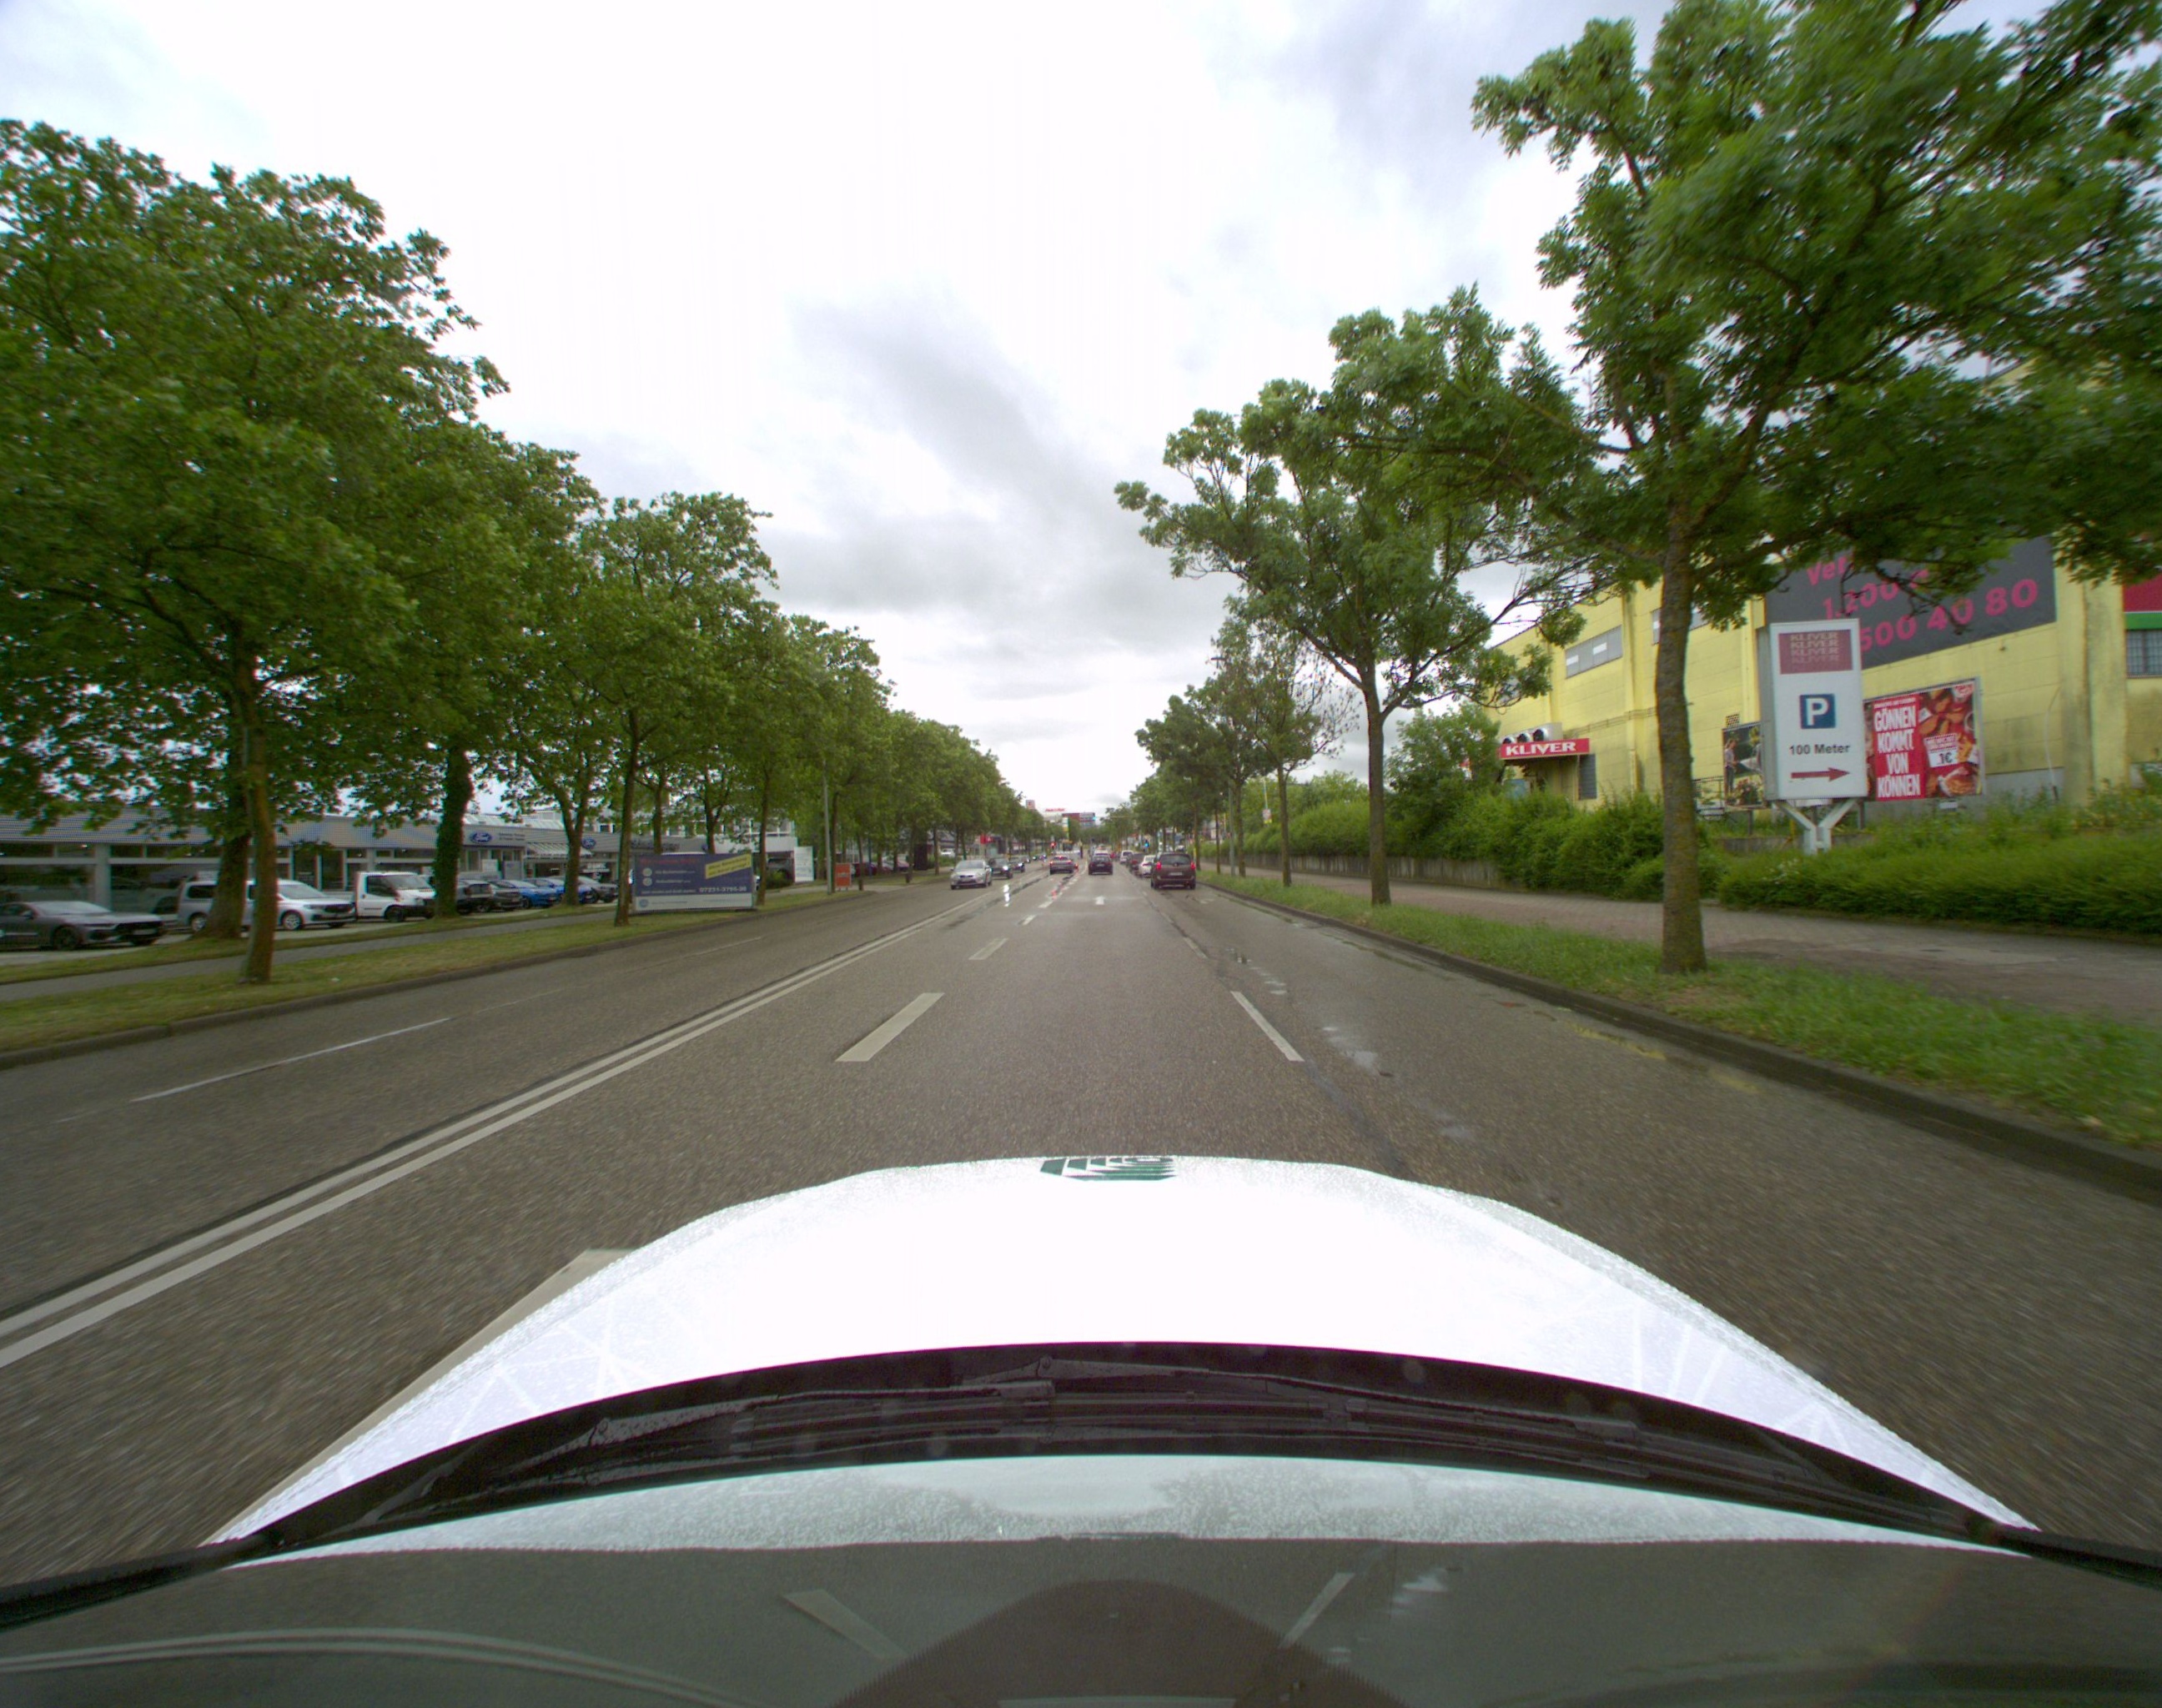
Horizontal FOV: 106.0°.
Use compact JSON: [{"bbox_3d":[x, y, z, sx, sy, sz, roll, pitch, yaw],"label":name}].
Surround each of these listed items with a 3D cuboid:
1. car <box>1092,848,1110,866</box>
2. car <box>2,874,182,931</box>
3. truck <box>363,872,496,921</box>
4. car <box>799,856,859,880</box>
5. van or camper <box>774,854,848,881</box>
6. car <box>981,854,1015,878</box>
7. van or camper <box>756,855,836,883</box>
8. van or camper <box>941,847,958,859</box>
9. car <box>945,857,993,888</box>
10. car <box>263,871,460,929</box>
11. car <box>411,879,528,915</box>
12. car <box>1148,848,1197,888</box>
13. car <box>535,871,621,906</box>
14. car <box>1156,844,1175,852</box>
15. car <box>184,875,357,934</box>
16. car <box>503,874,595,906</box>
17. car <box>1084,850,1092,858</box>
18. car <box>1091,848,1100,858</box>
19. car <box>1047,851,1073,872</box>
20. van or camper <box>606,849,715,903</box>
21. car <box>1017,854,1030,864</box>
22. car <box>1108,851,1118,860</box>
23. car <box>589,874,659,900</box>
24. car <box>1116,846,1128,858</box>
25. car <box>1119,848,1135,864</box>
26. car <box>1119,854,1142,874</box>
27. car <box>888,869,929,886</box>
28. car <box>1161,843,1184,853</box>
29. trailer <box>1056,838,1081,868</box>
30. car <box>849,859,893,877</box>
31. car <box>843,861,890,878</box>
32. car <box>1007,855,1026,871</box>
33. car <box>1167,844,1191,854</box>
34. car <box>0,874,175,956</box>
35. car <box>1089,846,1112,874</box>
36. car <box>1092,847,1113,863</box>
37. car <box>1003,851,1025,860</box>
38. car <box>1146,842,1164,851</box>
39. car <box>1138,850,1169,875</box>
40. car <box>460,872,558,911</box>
[{"bbox_3d":[2.313,0.320,93.573,1.986,2.014,4.000,0,-1,1],"label":"car"},{"bbox_3d":[-35.066,1.690,28.950,3.975,1.766,1.864,-2,0,-1],"label":"car"},{"bbox_3d":[-28.177,1.804,35.360,3.985,1.838,1.994,-2,0,-9],"label":"truck"},{"bbox_3d":[-20.683,1.135,66.795,4.471,1.816,1.985,-2,0,-22],"label":"car"},{"bbox_3d":[-21.154,1.078,63.759,5.379,1.770,2.089,-2,-3,-22],"label":"van or camper"},{"bbox_3d":[-5.820,0.840,57.353,1.756,1.531,3.859,-4,0,1],"label":"car"},{"bbox_3d":[-20.756,1.074,59.269,5.308,1.821,2.248,-2,0,-25],"label":"van or camper"},{"bbox_3d":[-22.831,-0.151,141.458,1.987,1.967,4.788,0,-1,1],"label":"van or camper"},{"bbox_3d":[-5.876,0.919,43.255,1.988,1.429,4.681,-3,0,-2],"label":"car"},{"bbox_3d":[-28.055,1.753,31.925,5.362,1.903,2.414,-2,0,-3],"label":"car"},{"bbox_3d":[-28.572,1.997,38.130,3.969,1.461,2.036,-2,0,4],"label":"car"},{"bbox_3d":[3.967,0.579,35.989,1.720,1.624,4.472,-2,0,1],"label":"car"},{"bbox_3d":[-28.269,1.932,45.800,3.956,1.766,1.873,-2,0,17],"label":"car"},{"bbox_3d":[16.800,-1.156,161.719,3.617,1.536,1.625,-3,0,-39],"label":"car"},{"bbox_3d":[-28.034,1.705,28.288,3.976,1.766,1.881,-2,0,-2],"label":"car"},{"bbox_3d":[-28.205,1.888,43.226,3.957,1.520,1.873,-2,0,15],"label":"car"},{"bbox_3d":[1.682,-0.007,196.730,1.986,2.014,4.001,0,-1,2],"label":"car"},{"bbox_3d":[3.137,-0.216,174.372,1.986,2.014,4.001,0,-1,2],"label":"car"},{"bbox_3d":[-1.732,0.606,68.772,1.900,1.578,4.881,-3,0,1],"label":"car"},{"bbox_3d":[-20.906,1.025,40.936,1.986,2.470,6.403,-1,0,2],"label":"van or camper"},{"bbox_3d":[-9.526,0.860,135.387,1.704,1.465,4.084,-3,0,0],"label":"car"},{"bbox_3d":[5.613,0.233,142.625,1.689,1.443,3.990,-2,0,2],"label":"car"},{"bbox_3d":[-29.730,2.132,53.029,3.867,1.467,1.605,-2,0,13],"label":"car"},{"bbox_3d":[6.032,-0.223,119.125,1.678,1.684,3.404,0,-1,2],"label":"car"},{"bbox_3d":[5.706,0.258,102.242,1.775,1.866,4.001,-3,0,1],"label":"car"},{"bbox_3d":[4.110,0.774,67.981,1.794,1.587,4.452,0,0,2],"label":"car"},{"bbox_3d":[-19.766,2.710,93.458,4.236,1.596,1.985,-4,1,-23],"label":"car"},{"bbox_3d":[17.581,-1.153,155.965,4.048,1.662,1.959,-5,2,-39],"label":"car"},{"bbox_3d":[-1.265,-0.138,83.843,2.365,2.897,5.544,-3,0,0],"label":"trailer"},{"bbox_3d":[-22.835,1.523,88.526,4.236,1.653,1.997,-3,0,-23],"label":"car"},{"bbox_3d":[-22.491,1.604,85.341,4.572,1.596,1.985,-1,0,-22],"label":"car"},{"bbox_3d":[-6.081,0.844,77.422,1.663,1.462,4.175,-3,0,-4],"label":"car"},{"bbox_3d":[17.311,-0.907,144.004,1.907,1.576,4.315,-2,0,42],"label":"car"},{"bbox_3d":[-27.792,1.641,22.178,3.976,2.013,1.881,-2,0,-2],"label":"car"},{"bbox_3d":[1.495,0.430,62.224,1.588,2.013,4.347,-2,0,2],"label":"car"},{"bbox_3d":[2.030,0.061,76.922,1.678,1.377,3.996,-2,0,-2],"label":"car"},{"bbox_3d":[-13.346,0.295,162.999,3.948,1.552,1.912,-2,1,35],"label":"car"},{"bbox_3d":[17.412,-1.689,191.219,4.095,1.904,1.801,-3,1,2],"label":"car"},{"bbox_3d":[4.734,0.530,53.867,1.794,1.544,4.621,0,0,2],"label":"car"},{"bbox_3d":[-28.518,1.852,40.619,3.956,1.766,1.873,-2,0,16],"label":"car"}]
